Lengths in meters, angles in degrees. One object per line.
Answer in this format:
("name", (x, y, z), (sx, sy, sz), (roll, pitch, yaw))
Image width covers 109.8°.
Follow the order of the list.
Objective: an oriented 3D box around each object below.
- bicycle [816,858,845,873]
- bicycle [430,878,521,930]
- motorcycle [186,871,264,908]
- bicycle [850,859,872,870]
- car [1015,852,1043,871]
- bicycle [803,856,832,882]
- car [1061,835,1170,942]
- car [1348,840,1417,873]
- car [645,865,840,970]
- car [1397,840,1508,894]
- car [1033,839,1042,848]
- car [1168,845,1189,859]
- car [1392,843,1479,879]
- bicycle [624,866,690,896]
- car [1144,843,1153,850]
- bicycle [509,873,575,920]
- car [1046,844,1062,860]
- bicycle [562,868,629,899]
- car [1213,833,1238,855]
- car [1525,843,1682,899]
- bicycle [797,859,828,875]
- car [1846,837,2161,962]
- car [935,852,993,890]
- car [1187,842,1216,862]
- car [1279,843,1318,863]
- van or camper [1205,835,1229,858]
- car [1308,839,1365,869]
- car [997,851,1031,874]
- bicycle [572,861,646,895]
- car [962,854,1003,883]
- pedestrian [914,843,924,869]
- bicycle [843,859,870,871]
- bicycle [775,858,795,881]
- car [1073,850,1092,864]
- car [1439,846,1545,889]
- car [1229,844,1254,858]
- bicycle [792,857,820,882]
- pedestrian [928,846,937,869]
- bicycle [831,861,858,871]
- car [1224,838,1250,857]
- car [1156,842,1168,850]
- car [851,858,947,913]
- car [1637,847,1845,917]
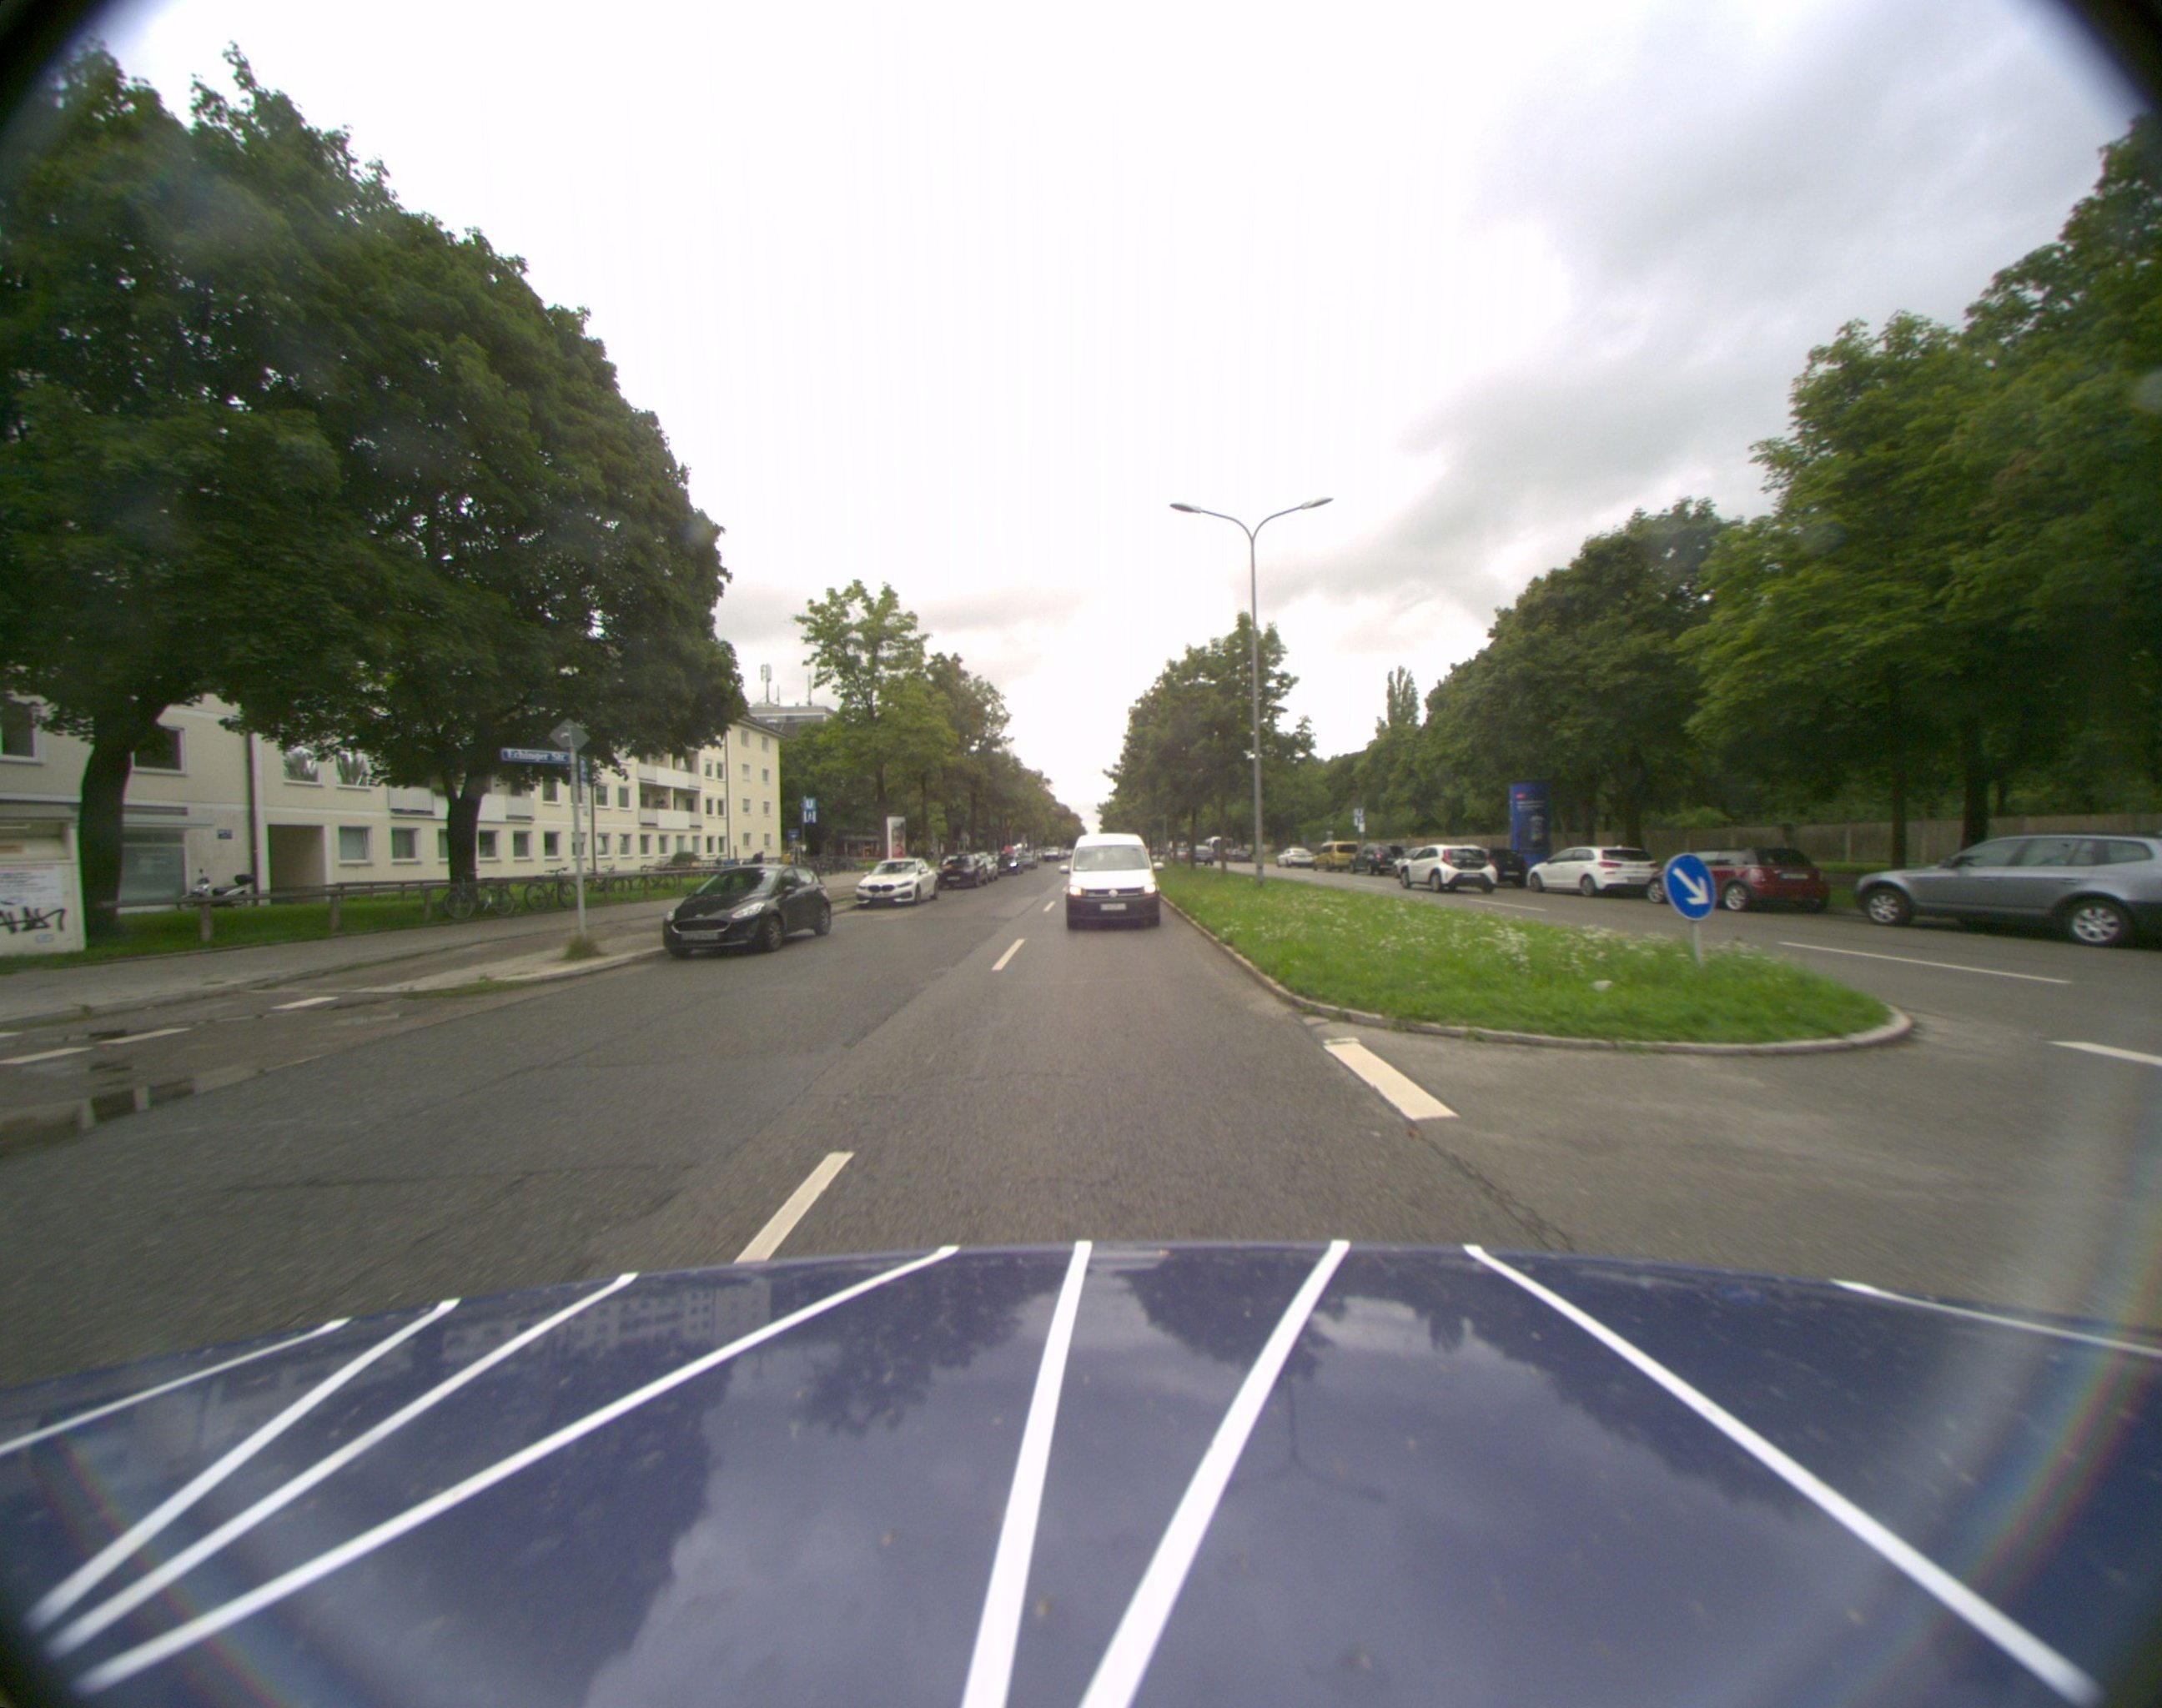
("bicycle", (-15.345, 0.684, 46.628), (1.599, 0.910, 0.498), (0, 1, -3))
("bicycle", (-13.525, 1.085, 17.043), (0.448, 1.009, 1.853), (-1, 1, 2))
("motorcycle", (-27.728, 1.136, 24.638), (0.606, 1.113, 1.622), (-1, 1, 2))
("bicycle", (-14.896, 0.706, 51.492), (1.392, 0.709, 0.498), (1, 1, -3))
("car", (-4.368, 0.629, 64.288), (1.826, 1.460, 4.300), (-2, 1, 2))
("bicycle", (-12.803, 0.723, 36.983), (0.545, 1.182, 2.076), (-1, 1, 2))
("car", (0.637, 0.561, 15.306), (1.772, 1.742, 4.545), (-3, 1, 1))
("car", (15.821, 0.099, 40.097), (2.007, 1.607, 4.040), (0, 1, -1))
("car", (-5.800, 0.999, 13.590), (1.648, 1.468, 3.956), (-2, 0, 0))
("car", (11.729, 0.366, 24.270), (1.826, 1.544, 3.721), (-1, 1, 3))
("car", (-11.531, -2.832, 201.242), (1.998, 2.440, 4.999), (-1, 1, 0))
("car", (10.050, -0.266, 78.381), (1.722, 1.374, 3.767), (1, 1, 2))
("car", (15.572, 0.262, 33.646), (1.826, 1.461, 4.300), (0, 1, -1))
("bicycle", (-16.018, 1.016, 28.728), (2.032, 1.061, 0.663), (-1, 1, -3))
("car", (15.203, -1.648, 171.618), (1.865, 1.448, 4.500), (1, 1, 1))
("bicycle", (-13.666, 1.062, 19.314), (0.470, 1.049, 1.767), (1, 1, -3))
("car", (-3.639, -0.282, 102.250), (1.826, 1.939, 4.300), (-2, 1, 2))
("bicycle", (-18.350, 1.107, 28.748), (2.032, 1.061, 0.663), (-1, 1, -3))
("car", (17.160, -1.157, 90.450), (1.999, 2.576, 4.499), (0, 1, -1))
("car", (15.324, 0.441, 22.609), (1.826, 1.468, 4.260), (1, 1, 2))
("bicycle", (-15.606, 0.758, 44.179), (1.599, 0.910, 0.498), (-1, 1, -3))
("car", (15.005, 0.559, 11.785), (1.826, 1.621, 4.456), (0, 1, 1))
("car", (-5.183, 0.705, 34.143), (1.826, 1.503, 4.157), (-2, 1, 1))
("car", (10.021, -0.201, 63.421), (1.826, 1.580, 4.501), (-1, 0, 2))
("car", (16.189, -0.118, 56.814), (1.717, 1.434, 4.040), (0, 1, -1))
("van or camper", (17.047, -0.917, 95.411), (1.999, 2.791, 4.931), (0, 1, -1))
("car", (15.547, -0.031, 46.455), (1.862, 1.761, 4.533), (0, 1, -1))
("car", (-4.363, 0.553, 50.275), (1.827, 1.372, 4.300), (-2, 1, 0))
("bicycle", (-15.917, 0.811, 25.651), (2.032, 1.061, 0.663), (-1, 1, -3))
("car", (-5.138, 0.716, 40.139), (1.617, 1.372, 3.926), (-2, 1, 0))
("pedestrian", (-11.451, 0.137, 53.578), (0.560, 1.745, 0.656), (-2, 1, -18))
("bicycle", (-14.986, 0.720, 50.781), (1.599, 0.691, 0.498), (-2, 1, -3))
("bicycle", (-14.899, 0.774, 38.242), (0.466, 1.110, 1.253), (-1, 1, 2))
("car", (0.221, 0.320, 86.771), (1.984, 1.591, 4.402), (1, 1, 2))
("car", (15.236, 0.461, 28.389), (1.826, 1.438, 3.787), (1, 1, -1))
("car", (16.449, -0.295, 77.931), (1.717, 1.401, 4.040), (0, 1, -1))
("bicycle", (-13.687, 0.740, 37.865), (0.545, 1.182, 2.076), (-1, 1, 2))
("pedestrian", (-10.502, 0.225, 53.718), (0.560, 1.595, 0.519), (-2, 1, -18))
("bicycle", (-15.585, 0.772, 50.009), (1.599, 0.634, 0.498), (1, 1, -3))
("car", (16.977, -0.689, 82.698), (1.998, 2.002, 4.000), (-1, 1, 1))
("car", (15.773, -1.573, 147.546), (1.865, 1.660, 4.500), (1, 1, 1))
("car", (-5.668, 0.929, 24.223), (1.826, 1.428, 4.287), (-3, 1, 2))
("car", (15.043, 0.565, 17.608), (1.653, 1.414, 3.687), (1, 1, 2))
